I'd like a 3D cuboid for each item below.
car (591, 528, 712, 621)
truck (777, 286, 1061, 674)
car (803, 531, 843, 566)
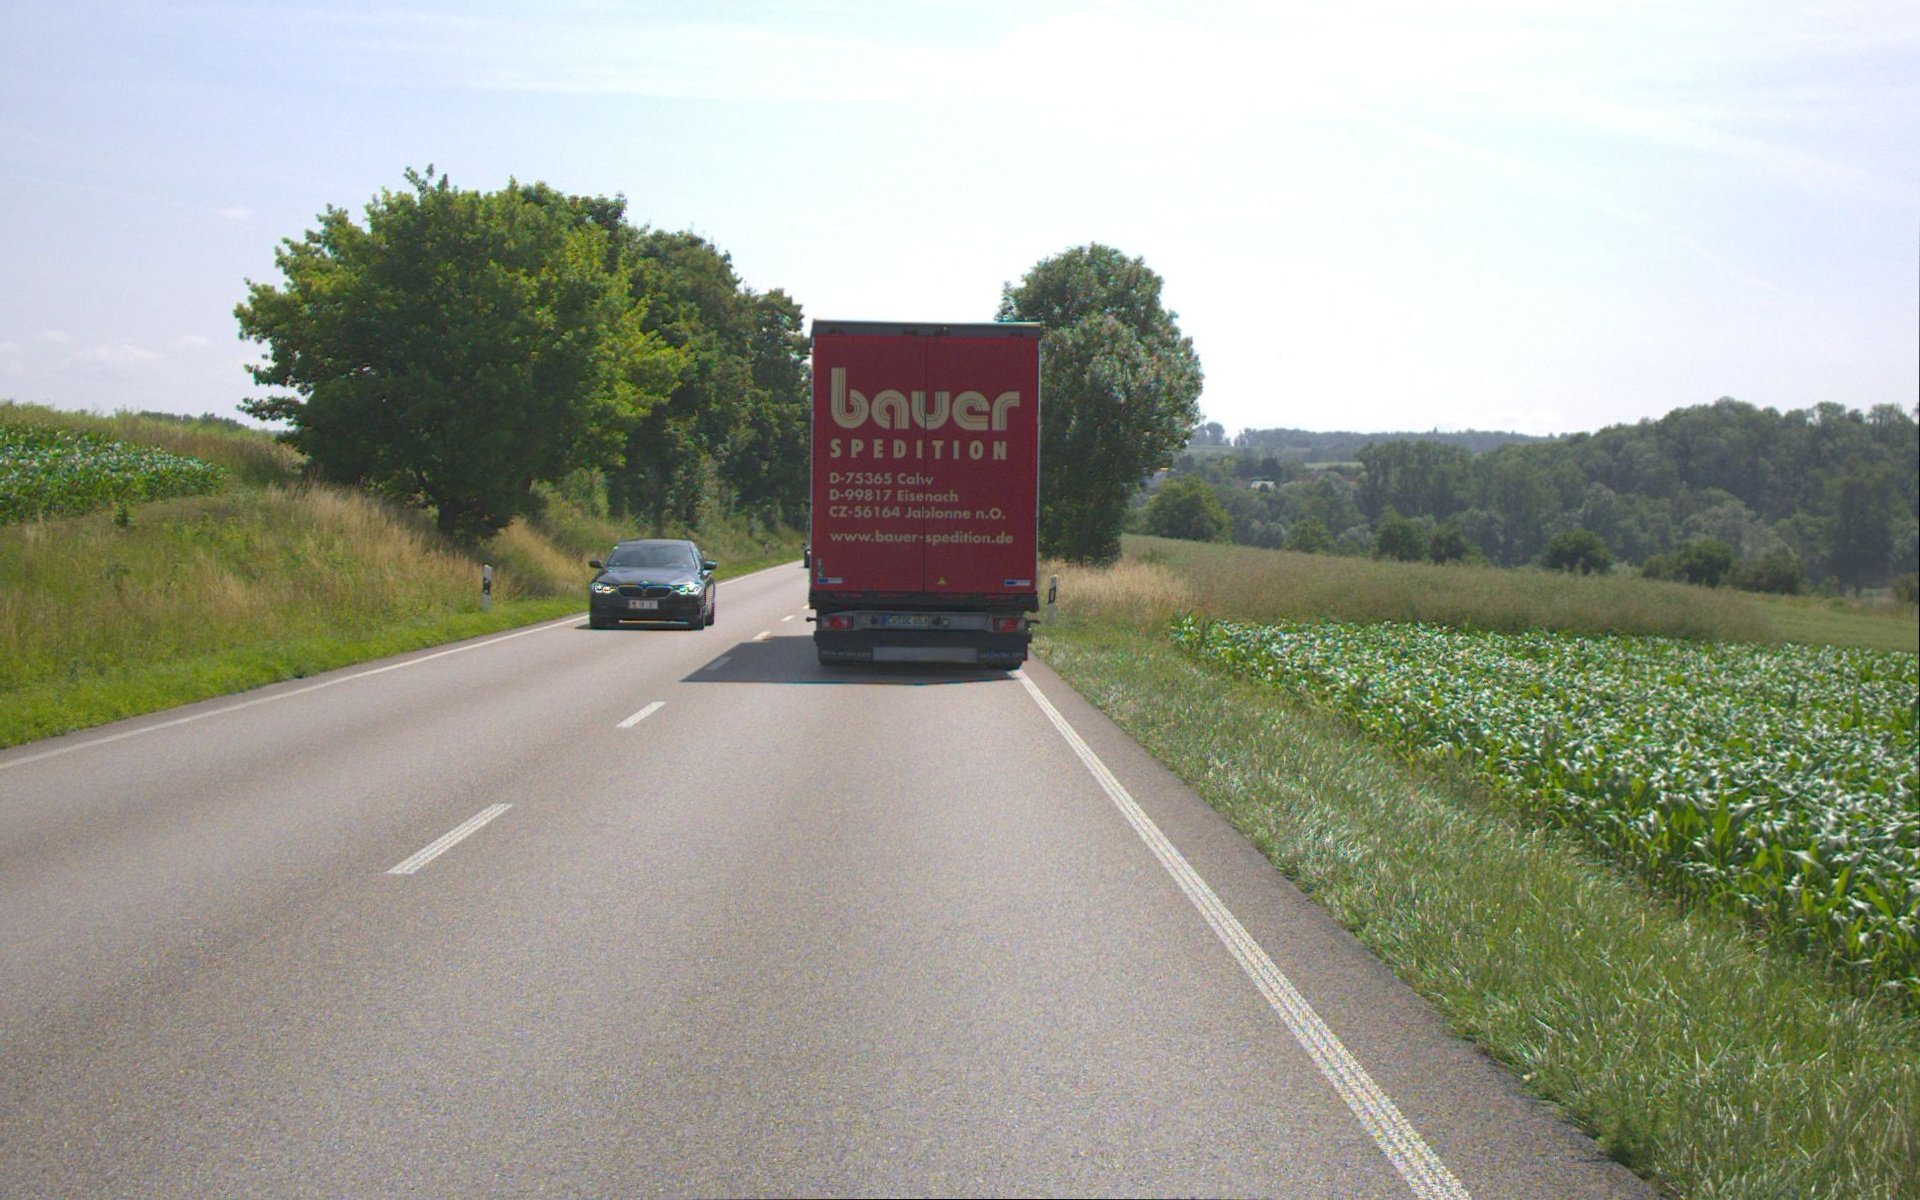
[{"bbox_3d":[-5.075,-0.456,56.950,1.673,1.452,4.351,0,1,-1],"label":"car"},{"bbox_3d":[-0.376,-1.352,41.914,3.094,4.248,8.314,0,0,1],"label":"truck"},{"bbox_3d":[-6.300,-2.359,158.417,1.656,1.529,4.358,1,1,-1],"label":"car"}]
